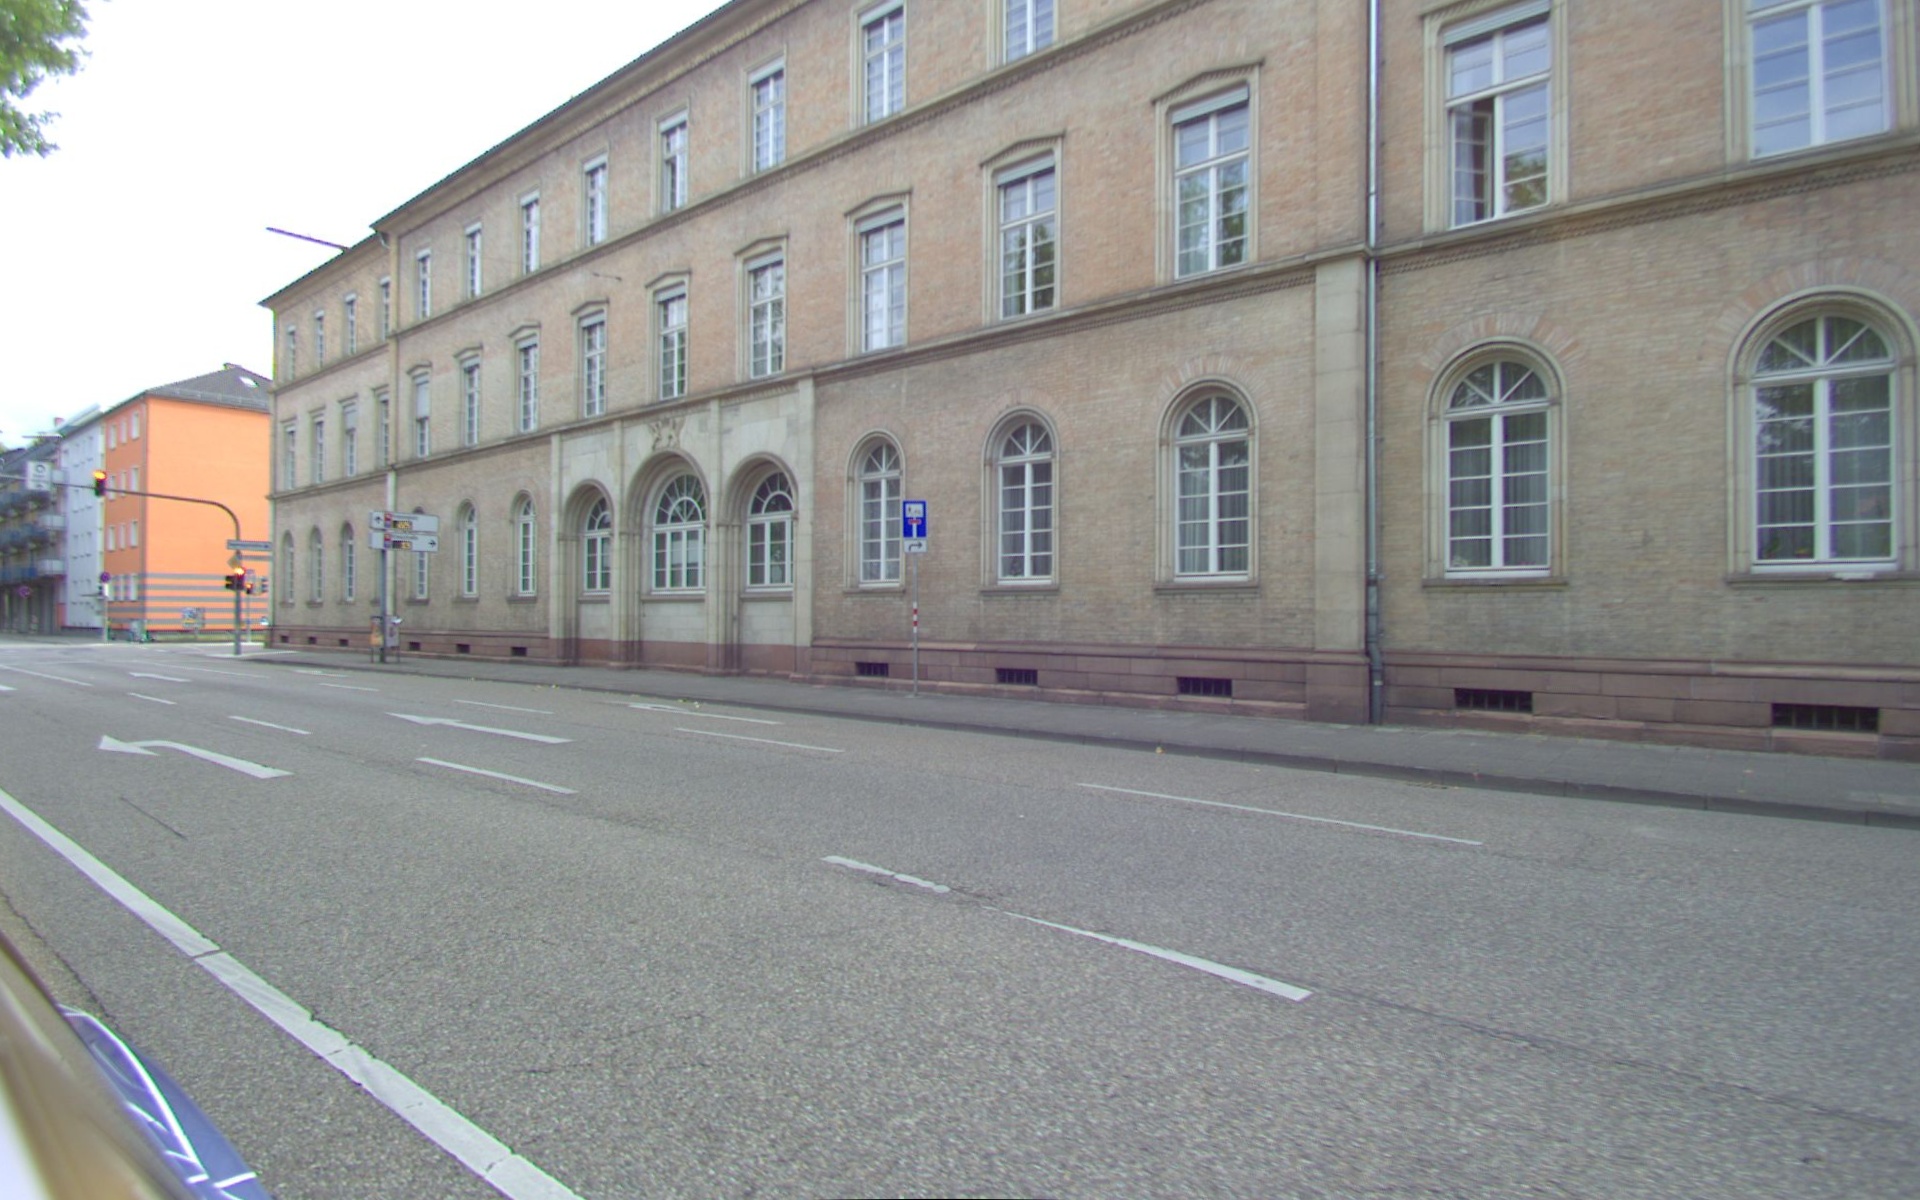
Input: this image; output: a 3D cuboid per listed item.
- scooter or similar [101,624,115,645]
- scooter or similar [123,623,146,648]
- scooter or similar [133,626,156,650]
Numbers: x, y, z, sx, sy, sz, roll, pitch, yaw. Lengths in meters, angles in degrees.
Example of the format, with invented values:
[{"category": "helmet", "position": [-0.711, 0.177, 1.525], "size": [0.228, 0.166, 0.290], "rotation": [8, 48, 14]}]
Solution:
[{"category": "scooter or similar", "position": [-44.997, 1.816, 53.450], "size": [1.353, 1.133, 0.365], "rotation": [-1, 0, 40]}, {"category": "scooter or similar", "position": [-39.940, 1.714, 48.947], "size": [1.336, 1.188, 0.327], "rotation": [-1, 0, 27]}, {"category": "scooter or similar", "position": [-39.805, 1.841, 49.401], "size": [1.347, 1.166, 0.327], "rotation": [-1, 0, 27]}]
